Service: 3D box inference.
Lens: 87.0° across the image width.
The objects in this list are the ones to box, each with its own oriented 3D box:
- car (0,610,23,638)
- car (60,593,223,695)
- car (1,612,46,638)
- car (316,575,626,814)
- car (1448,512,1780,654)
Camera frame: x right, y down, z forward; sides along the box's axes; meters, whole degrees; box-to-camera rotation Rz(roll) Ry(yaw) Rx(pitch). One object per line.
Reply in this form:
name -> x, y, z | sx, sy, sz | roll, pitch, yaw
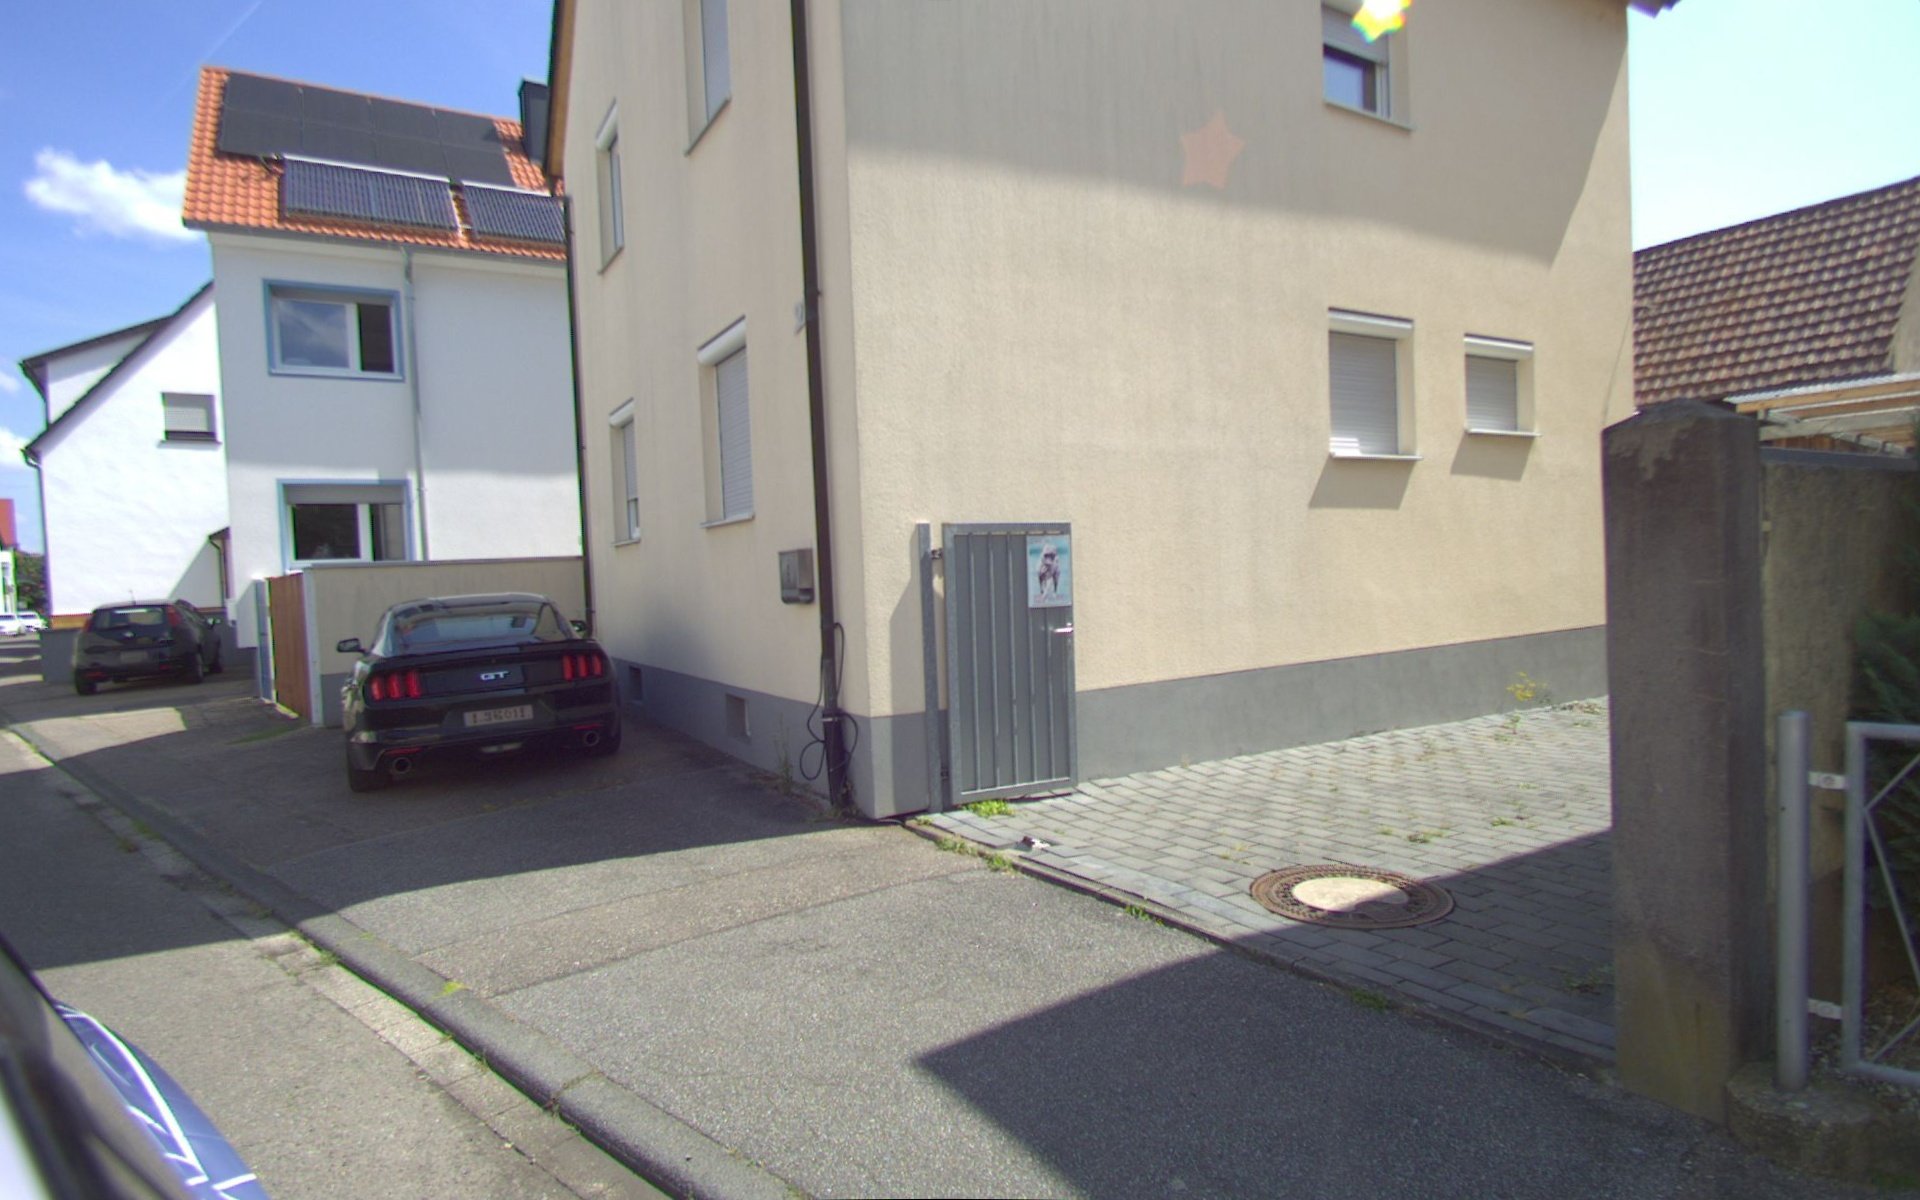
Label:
car -> -56.843, 1.476, 59.703 | 1.758, 1.511, 4.048 | -7, 4, -37
car -> -14.355, 0.693, 17.960 | 1.615, 1.465, 3.798 | -5, 3, -31
car -> -64.352, 1.688, 69.572 | 1.758, 1.511, 4.048 | -7, 4, -37
car -> -4.231, 0.536, 8.624 | 1.745, 1.359, 4.484 | -5, 4, -29
car -> 9.277, -0.317, 14.387 | 4.168, 1.752, 2.007 | -2, 3, -24
